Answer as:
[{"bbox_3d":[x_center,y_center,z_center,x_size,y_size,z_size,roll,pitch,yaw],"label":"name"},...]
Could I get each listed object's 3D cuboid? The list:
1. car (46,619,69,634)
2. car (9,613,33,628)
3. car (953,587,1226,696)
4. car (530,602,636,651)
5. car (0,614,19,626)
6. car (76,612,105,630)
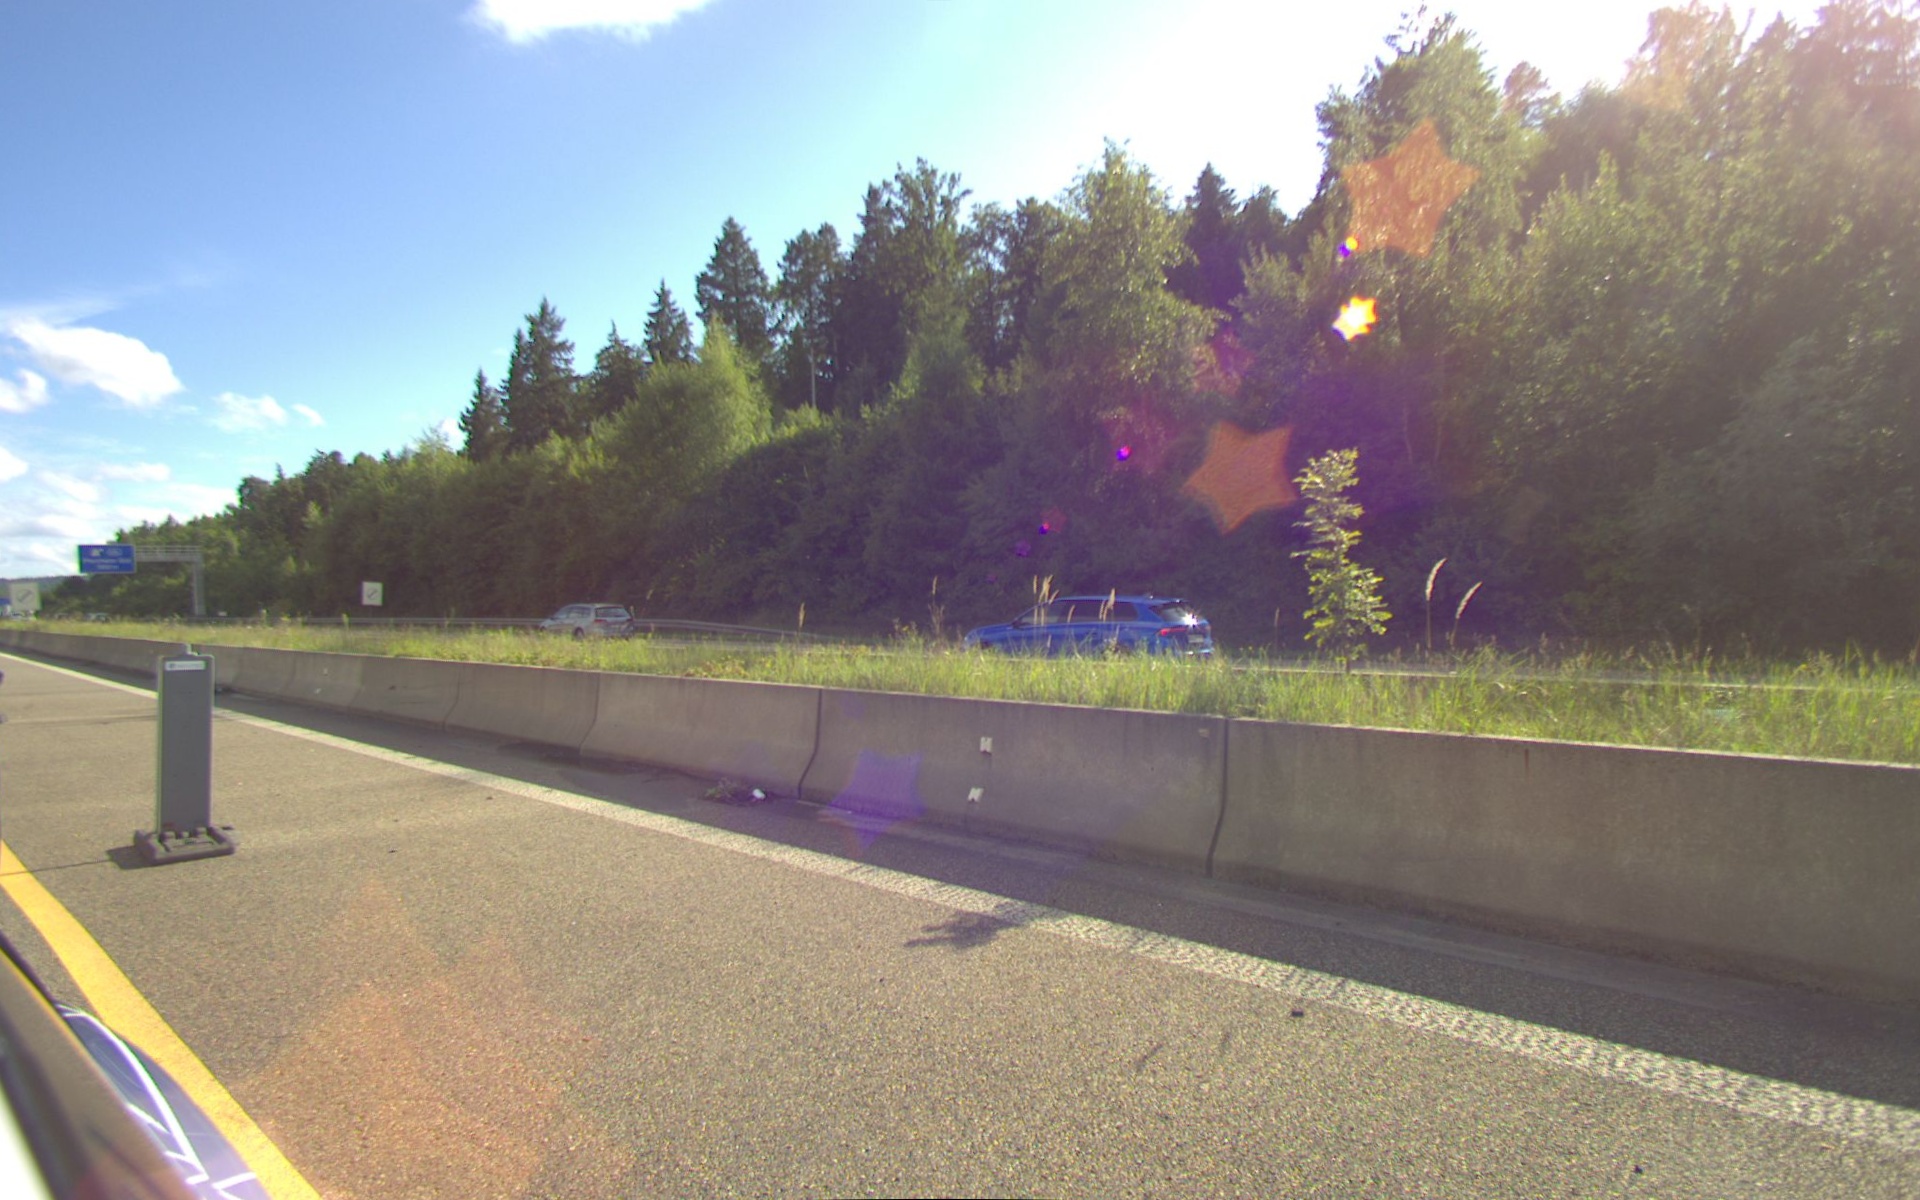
[{"bbox_3d":[-128.985,3.717,144.593,3.998,2.029,1.973,-1,0,41],"label":"car"},{"bbox_3d":[-128.884,2.790,138.864,3.998,2.029,1.973,-1,0,41],"label":"car"},{"bbox_3d":[2.074,0.624,16.982,4.309,1.614,1.759,-1,0,41],"label":"car"},{"bbox_3d":[-13.128,0.891,35.181,4.016,1.614,1.759,-1,0,41],"label":"car"},{"bbox_3d":[-166.344,3.441,177.083,3.998,2.029,1.973,-1,0,41],"label":"car"},{"bbox_3d":[-101.488,2.453,118.095,3.998,2.029,1.973,-1,0,41],"label":"car"}]
